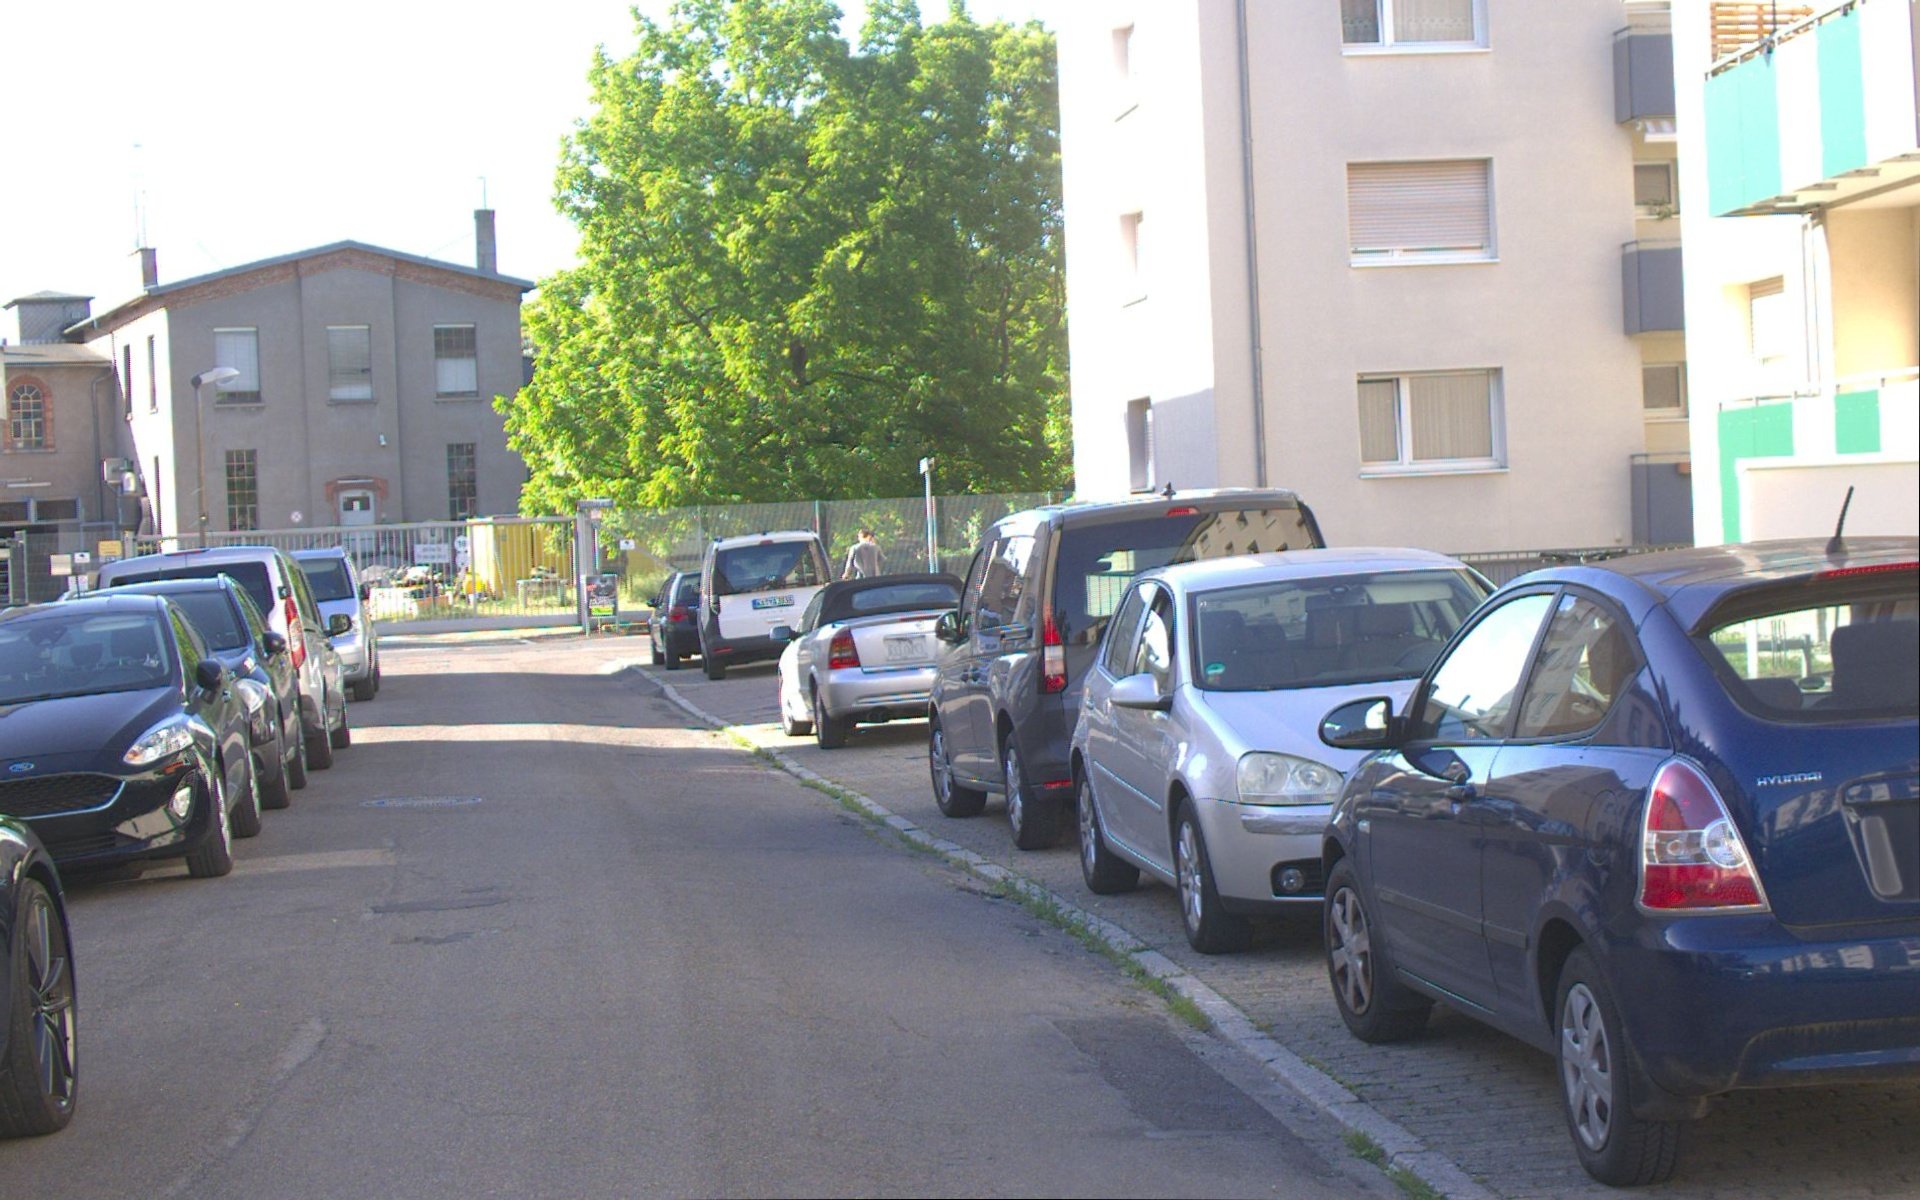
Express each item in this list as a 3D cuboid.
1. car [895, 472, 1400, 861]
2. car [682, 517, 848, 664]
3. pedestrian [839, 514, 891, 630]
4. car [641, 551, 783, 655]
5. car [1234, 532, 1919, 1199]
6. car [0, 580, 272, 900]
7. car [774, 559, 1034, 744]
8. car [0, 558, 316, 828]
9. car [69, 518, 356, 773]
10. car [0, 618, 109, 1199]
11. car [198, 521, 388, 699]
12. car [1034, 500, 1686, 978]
[{"bbox_3d":[0.916,0.336,19.468,1.896,1.849,4.344,-3,0,-9],"label":"car"},{"bbox_3d":[-2.647,-0.133,45.834,1.765,1.733,4.095,-5,1,-8],"label":"car"},{"bbox_3d":[-1.528,-0.448,55.410,0.654,1.809,0.614,-5,1,2],"label":"pedestrian"},{"bbox_3d":[-3.741,0.035,51.307,1.765,1.357,4.095,-5,1,-8],"label":"car"},{"bbox_3d":[2.067,0.587,9.633,1.737,1.427,4.357,-5,1,-6],"label":"car"},{"bbox_3d":[-4.672,0.684,18.258,1.658,1.438,3.872,-5,1,-8],"label":"car"},{"bbox_3d":[-0.561,0.411,29.847,1.717,1.359,4.055,-5,1,-7],"label":"car"},{"bbox_3d":[-5.392,0.562,23.049,1.832,1.510,4.001,-5,1,-8],"label":"car"},{"bbox_3d":[-6.096,0.354,28.472,1.896,1.849,4.196,-3,0,-8],"label":"car"},{"bbox_3d":[-3.264,0.869,7.518,1.743,1.426,4.599,-5,1,-3],"label":"car"},{"bbox_3d":[-8.457,0.112,43.916,1.993,2.007,4.455,-5,1,-8],"label":"car"},{"bbox_3d":[1.477,0.465,14.224,1.681,1.582,4.013,-4,1,-7],"label":"car"}]
